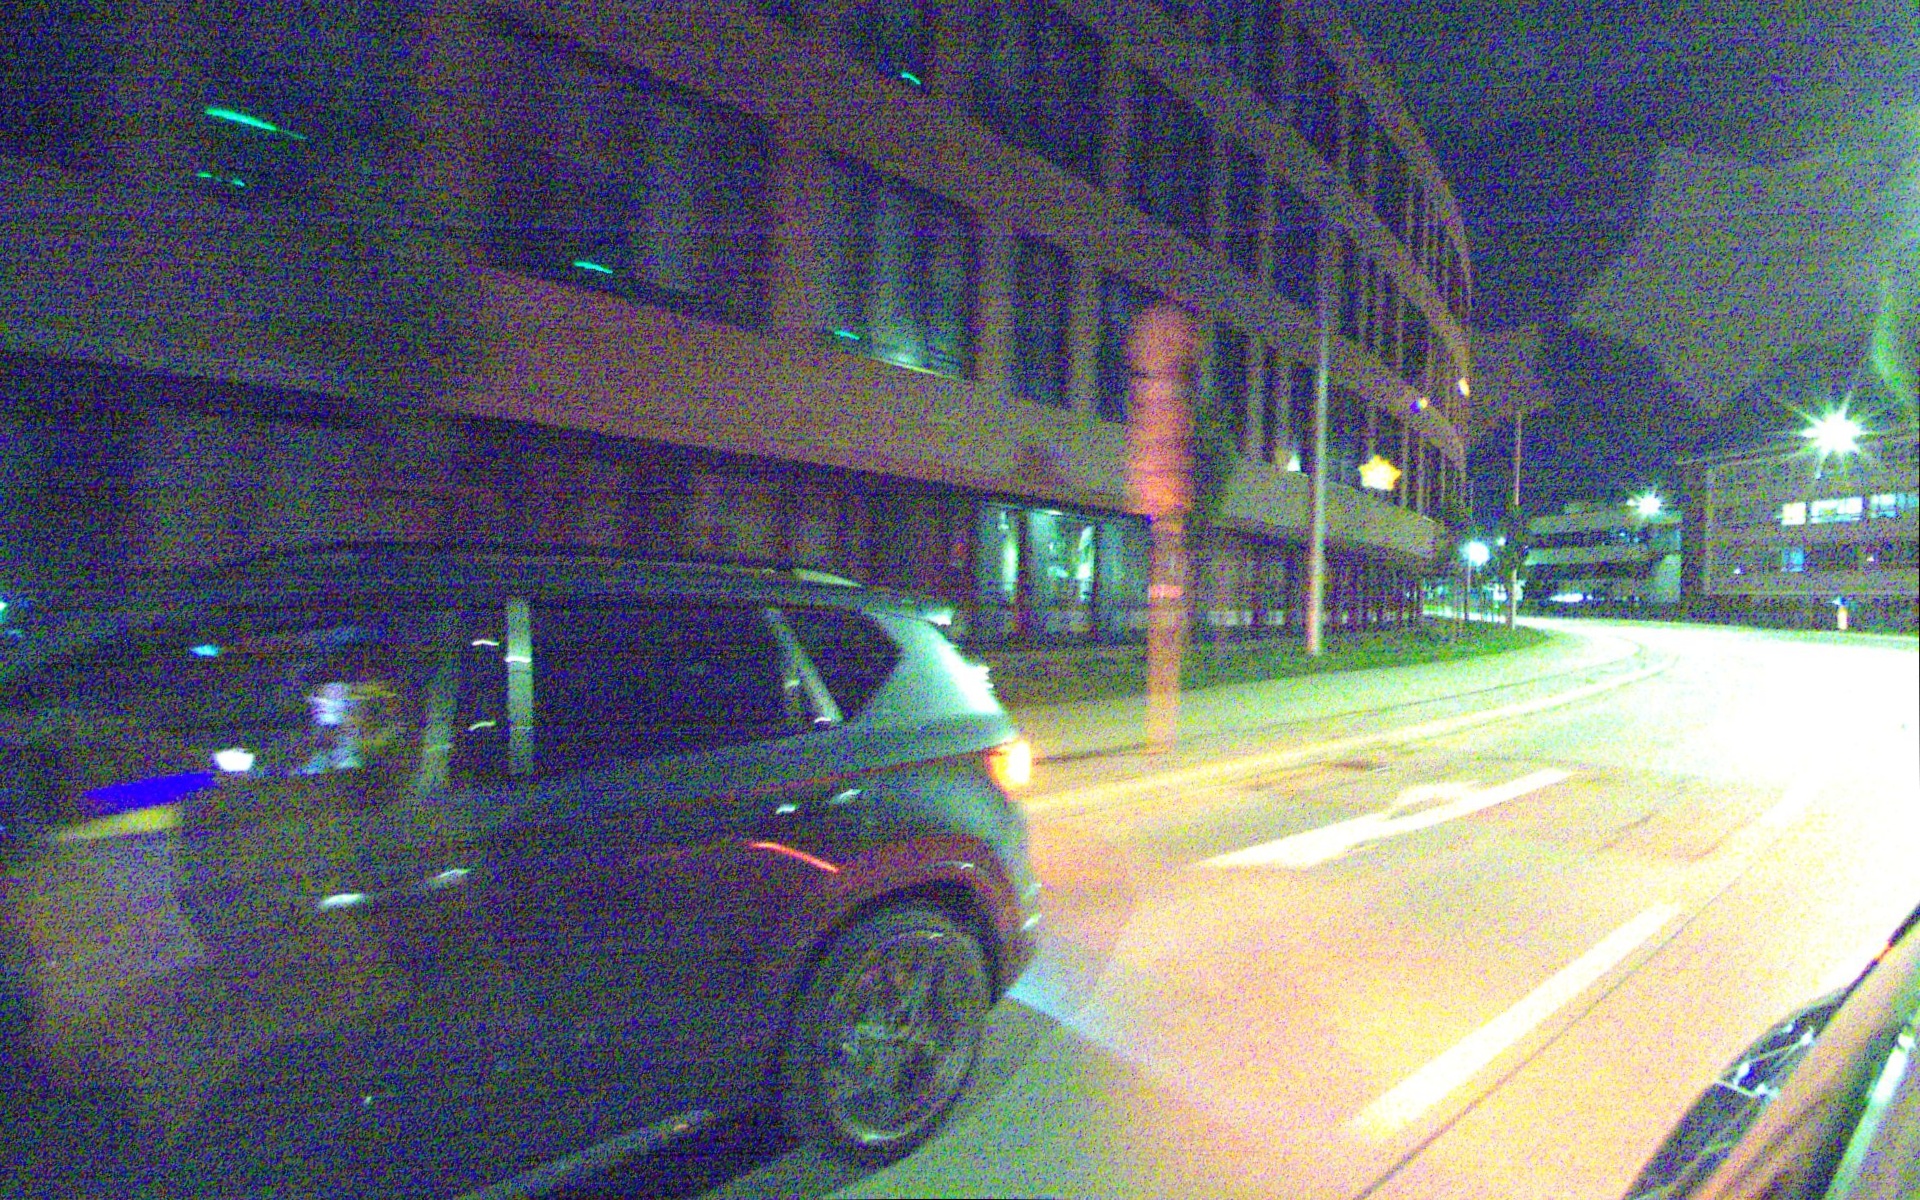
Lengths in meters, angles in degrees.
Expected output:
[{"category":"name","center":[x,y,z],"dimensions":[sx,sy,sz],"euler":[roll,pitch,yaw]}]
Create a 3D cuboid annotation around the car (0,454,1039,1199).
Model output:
[{"category":"car","center":[-1.870,0.600,2.187],"dimensions":[4.156,1.631,1.672],"euler":[0,0,-42]}]
